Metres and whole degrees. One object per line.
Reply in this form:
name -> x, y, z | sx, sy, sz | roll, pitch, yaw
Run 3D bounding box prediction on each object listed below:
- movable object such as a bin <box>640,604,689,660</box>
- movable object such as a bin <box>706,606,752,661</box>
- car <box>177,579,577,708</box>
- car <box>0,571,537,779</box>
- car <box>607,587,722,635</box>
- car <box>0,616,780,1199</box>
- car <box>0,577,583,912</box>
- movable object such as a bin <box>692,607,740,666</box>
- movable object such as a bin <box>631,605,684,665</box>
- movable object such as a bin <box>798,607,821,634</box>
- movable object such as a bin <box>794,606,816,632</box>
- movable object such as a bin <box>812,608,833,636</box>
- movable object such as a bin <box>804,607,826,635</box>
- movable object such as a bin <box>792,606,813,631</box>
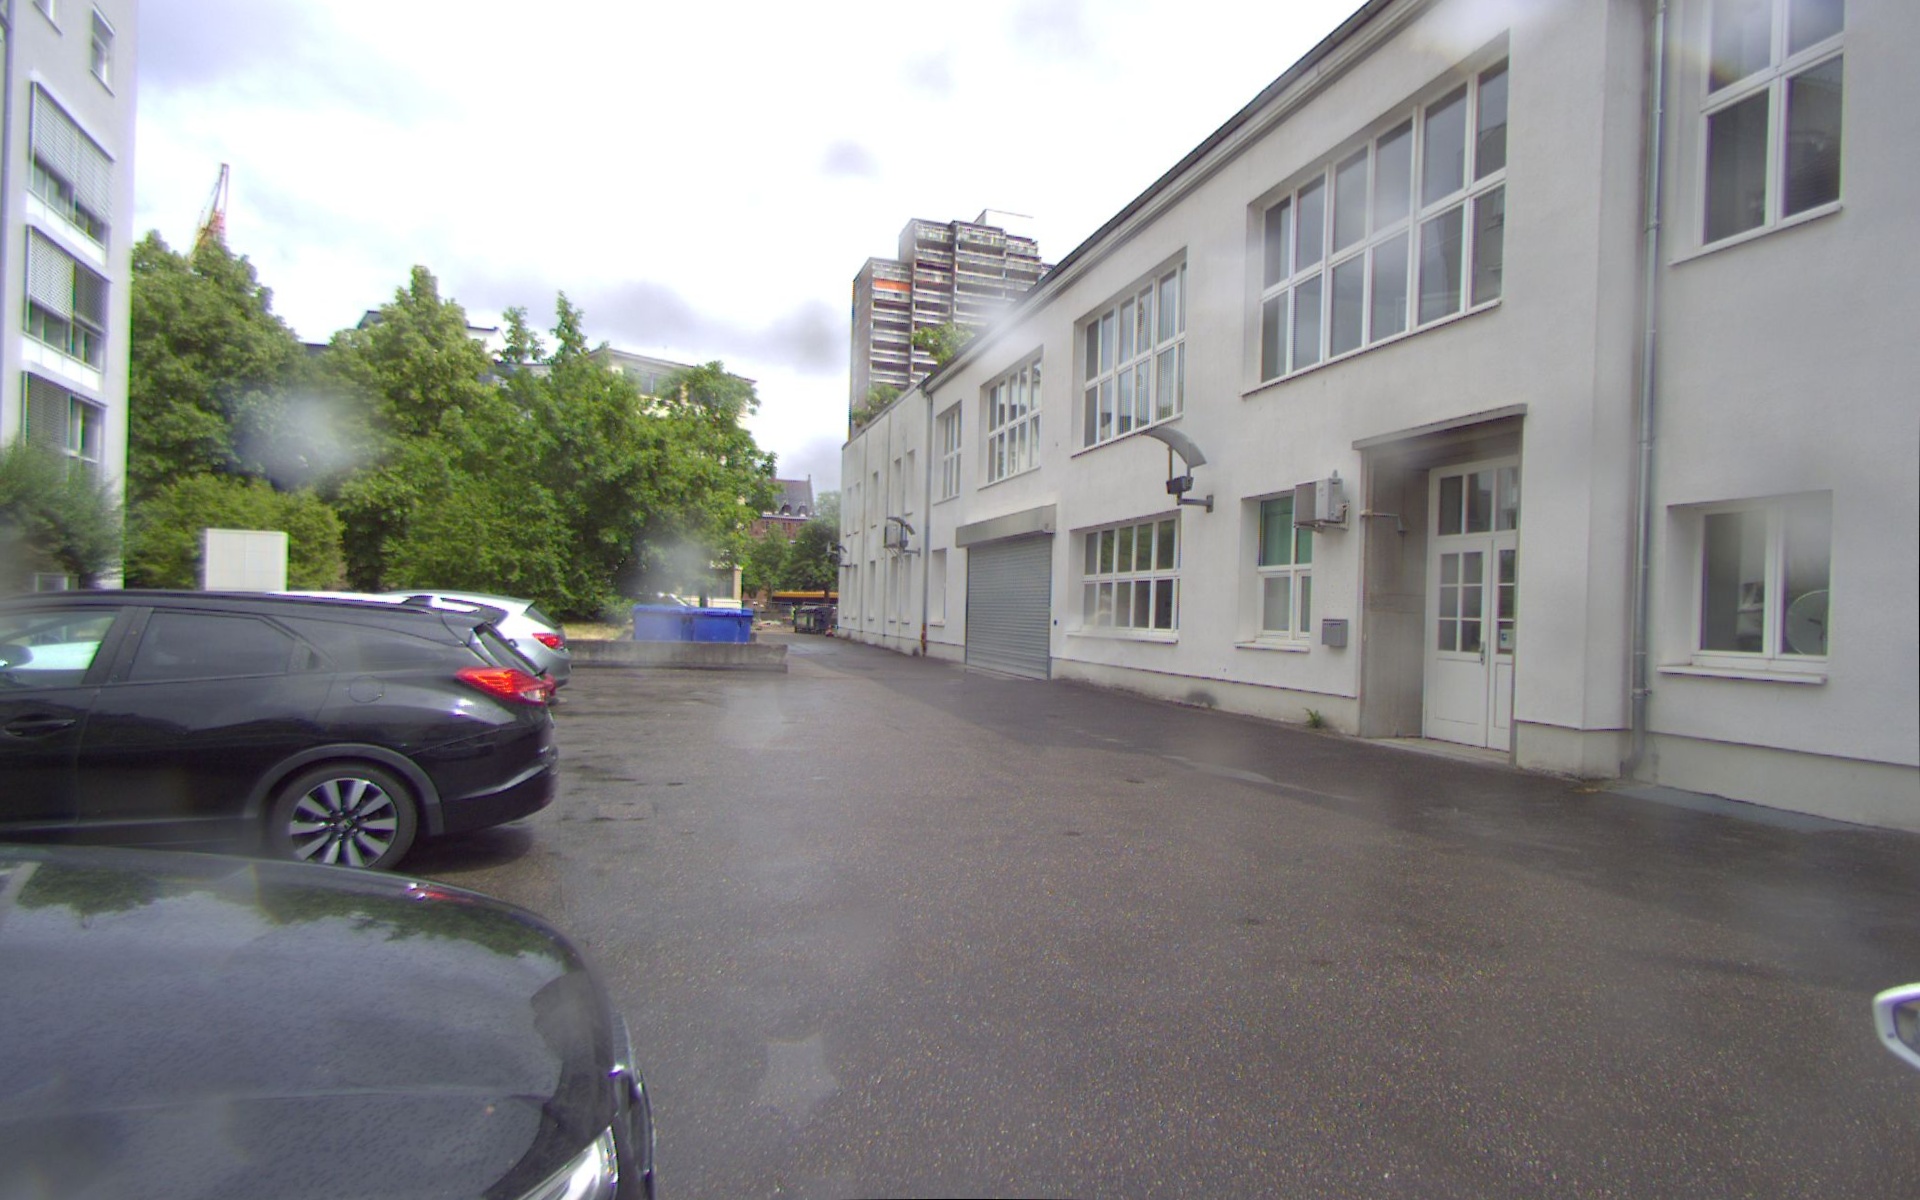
movable object such as a bin -> -7.458, 0.803, 25.395 | 1.112, 1.346, 1.205 | 1, 0, -14
movable object such as a bin -> -5.978, 0.859, 25.955 | 1.112, 1.346, 1.205 | 1, 0, -14
car -> -7.394, 0.586, 13.249 | 4.256, 1.462, 1.753 | 3, 0, -24
car -> -5.824, 0.607, 8.472 | 4.067, 1.462, 1.687 | 3, 0, -23
car -> -11.734, 0.432, 40.135 | 4.259, 1.750, 1.718 | 2, 0, -13
car -> -2.616, 0.687, 1.067 | 4.465, 1.370, 1.753 | 3, 0, -23
car -> -4.362, 0.659, 5.371 | 4.257, 1.462, 1.752 | 3, 0, -24
movable object such as a bin -> -5.866, 0.857, 24.136 | 1.077, 1.343, 1.205 | 1, 0, -14
movable object such as a bin -> -7.126, 0.816, 23.753 | 1.112, 1.346, 1.205 | 1, 0, -14
movable object such as a bin -> -8.093, 1.084, 54.003 | 1.045, 1.374, 1.215 | 1, 0, -14
movable object such as a bin -> -8.588, 1.066, 55.577 | 1.048, 1.374, 1.261 | 1, 0, -14
movable object such as a bin -> -7.005, 1.121, 51.166 | 0.962, 1.374, 0.916 | 1, 0, -14
movable object such as a bin -> -7.617, 1.100, 52.724 | 1.028, 1.374, 1.204 | 1, 0, -14
movable object such as a bin -> -8.917, 1.054, 56.905 | 1.048, 1.374, 1.261 | 1, 0, -14
